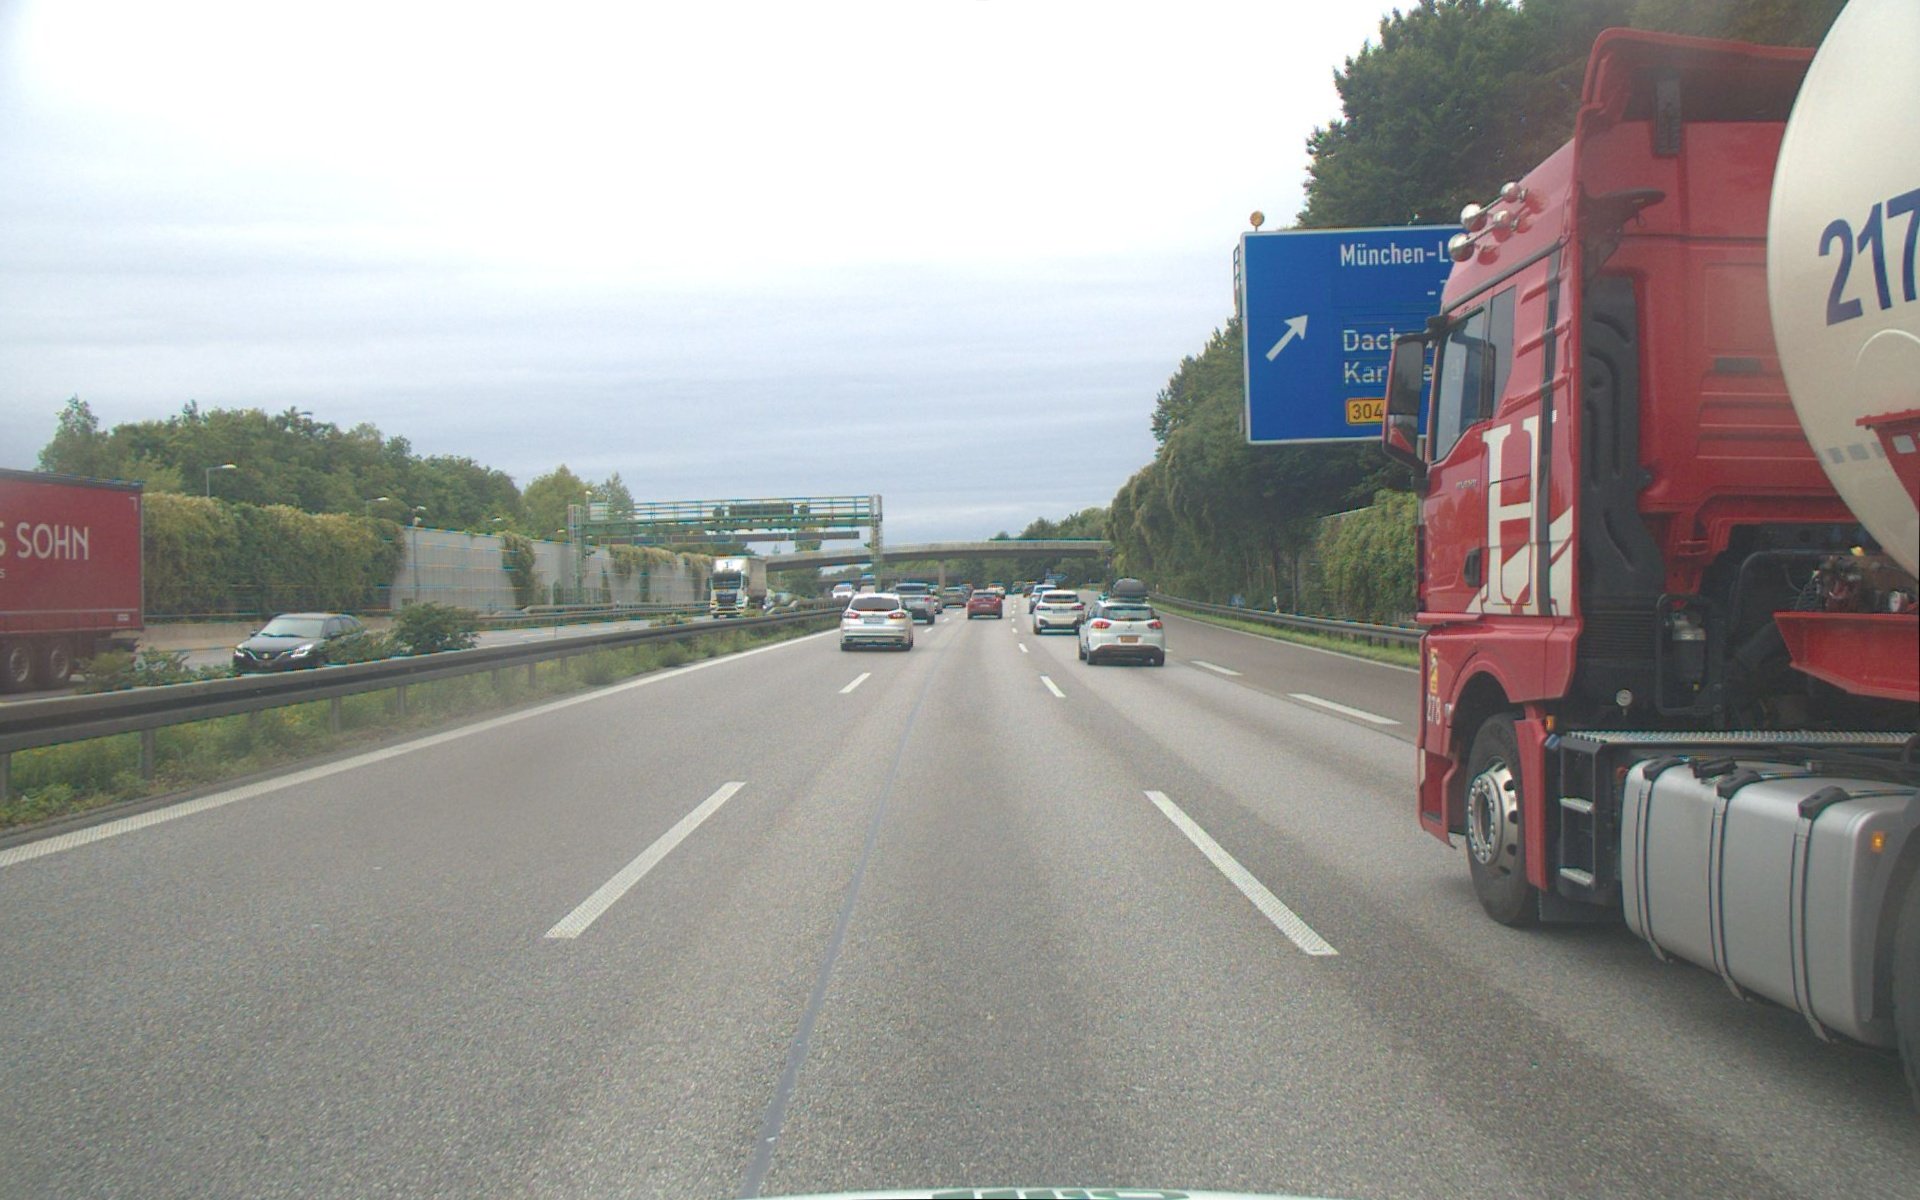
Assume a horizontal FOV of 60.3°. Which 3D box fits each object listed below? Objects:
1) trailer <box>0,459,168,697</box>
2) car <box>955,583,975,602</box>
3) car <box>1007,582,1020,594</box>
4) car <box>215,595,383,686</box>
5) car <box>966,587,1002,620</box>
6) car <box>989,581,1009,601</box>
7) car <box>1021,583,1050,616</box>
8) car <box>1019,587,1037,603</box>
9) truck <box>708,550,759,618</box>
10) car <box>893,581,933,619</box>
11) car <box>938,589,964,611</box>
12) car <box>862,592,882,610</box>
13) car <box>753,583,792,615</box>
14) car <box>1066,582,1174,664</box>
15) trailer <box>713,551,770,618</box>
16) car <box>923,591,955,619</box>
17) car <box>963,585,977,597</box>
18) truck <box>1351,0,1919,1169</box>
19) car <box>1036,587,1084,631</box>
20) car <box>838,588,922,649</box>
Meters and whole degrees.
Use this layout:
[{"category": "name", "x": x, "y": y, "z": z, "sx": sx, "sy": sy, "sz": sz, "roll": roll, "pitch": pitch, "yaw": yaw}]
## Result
[{"category": "trailer", "x": -18.247, "y": -0.380, "z": 28.333, "sx": 2.688, "sy": 4.200, "sz": 13.688, "roll": 0, "pitch": 0, "yaw": 0}, {"category": "car", "x": 0.510, "y": -0.697, "z": 155.654, "sx": 1.653, "sy": 1.668, "sz": 3.873, "roll": -1, "pitch": 0, "yaw": 3}, {"category": "car", "x": 6.788, "y": -1.506, "z": 210.874, "sx": 1.654, "sy": 1.447, "sz": 4.072, "roll": 0, "pitch": 0, "yaw": 1}, {"category": "car", "x": -13.821, "y": 0.798, "z": 34.840, "sx": 1.953, "sy": 1.769, "sz": 3.999, "roll": 1, "pitch": 0, "yaw": -1}, {"category": "car", "x": 1.243, "y": 0.137, "z": 84.674, "sx": 1.654, "sy": 1.532, "sz": 3.872, "roll": 4, "pitch": 1, "yaw": 2}, {"category": "car", "x": 3.630, "y": -0.858, "z": 154.832, "sx": 1.752, "sy": 1.811, "sz": 3.873, "roll": -1, "pitch": 0, "yaw": 3}, {"category": "car", "x": 4.384, "y": -0.032, "z": 95.515, "sx": 1.653, "sy": 1.811, "sz": 3.873, "roll": 0, "pitch": 0, "yaw": 3}, {"category": "car", "x": 6.720, "y": -0.484, "z": 163.029, "sx": 1.653, "sy": 1.566, "sz": 3.873, "roll": 0, "pitch": 0, "yaw": 3}, {"category": "truck", "x": -15.422, "y": -1.079, "z": 112.817, "sx": 2.594, "sy": 4.552, "sz": 5.284, "roll": -1, "pitch": 0, "yaw": 2}, {"category": "car", "x": -2.063, "y": -0.018, "z": 72.993, "sx": 1.655, "sy": 1.532, "sz": 3.870, "roll": 4, "pitch": 1, "yaw": -1}, {"category": "car", "x": -0.636, "y": -0.041, "z": 120.238, "sx": 1.653, "sy": 1.533, "sz": 3.873, "roll": 1, "pitch": 0, "yaw": 3}, {"category": "car", "x": -9.857, "y": 0.125, "z": 185.794, "sx": 1.952, "sy": 2.049, "sz": 4.000, "roll": 0, "pitch": -1, "yaw": 1}, {"category": "car", "x": -12.267, "y": -0.022, "z": 108.392, "sx": 1.952, "sy": 2.049, "sz": 4.910, "roll": 0, "pitch": -1, "yaw": 1}, {"category": "car", "x": 3.564, "y": 0.514, "z": 37.731, "sx": 1.779, "sy": 1.654, "sz": 5.028, "roll": 3, "pitch": -1, "yaw": -2}, {"category": "trailer", "x": -15.320, "y": -1.053, "z": 116.423, "sx": 2.613, "sy": 4.522, "sz": 8.575, "roll": -1, "pitch": 0, "yaw": 2}, {"category": "car", "x": -1.226, "y": 0.279, "z": 97.979, "sx": 1.653, "sy": 1.533, "sz": 3.873, "roll": -2, "pitch": 0, "yaw": 3}, {"category": "car", "x": 1.252, "y": -1.110, "z": 198.693, "sx": 1.654, "sy": 1.447, "sz": 3.872, "roll": 0, "pitch": 0, "yaw": 1}, {"category": "truck", "x": 3.825, "y": -0.492, "z": 7.163, "sx": 2.640, "sy": 3.981, "sz": 6.555, "roll": 0, "pitch": 0, "yaw": -1}, {"category": "car", "x": 3.579, "y": 0.342, "z": 59.609, "sx": 1.653, "sy": 1.533, "sz": 3.872, "roll": 0, "pitch": -1, "yaw": 2}, {"category": "car", "x": -2.064, "y": 0.475, "z": 44.016, "sx": 1.852, "sy": 1.530, "sz": 5.031, "roll": 1, "pitch": 0, "yaw": 2}]
